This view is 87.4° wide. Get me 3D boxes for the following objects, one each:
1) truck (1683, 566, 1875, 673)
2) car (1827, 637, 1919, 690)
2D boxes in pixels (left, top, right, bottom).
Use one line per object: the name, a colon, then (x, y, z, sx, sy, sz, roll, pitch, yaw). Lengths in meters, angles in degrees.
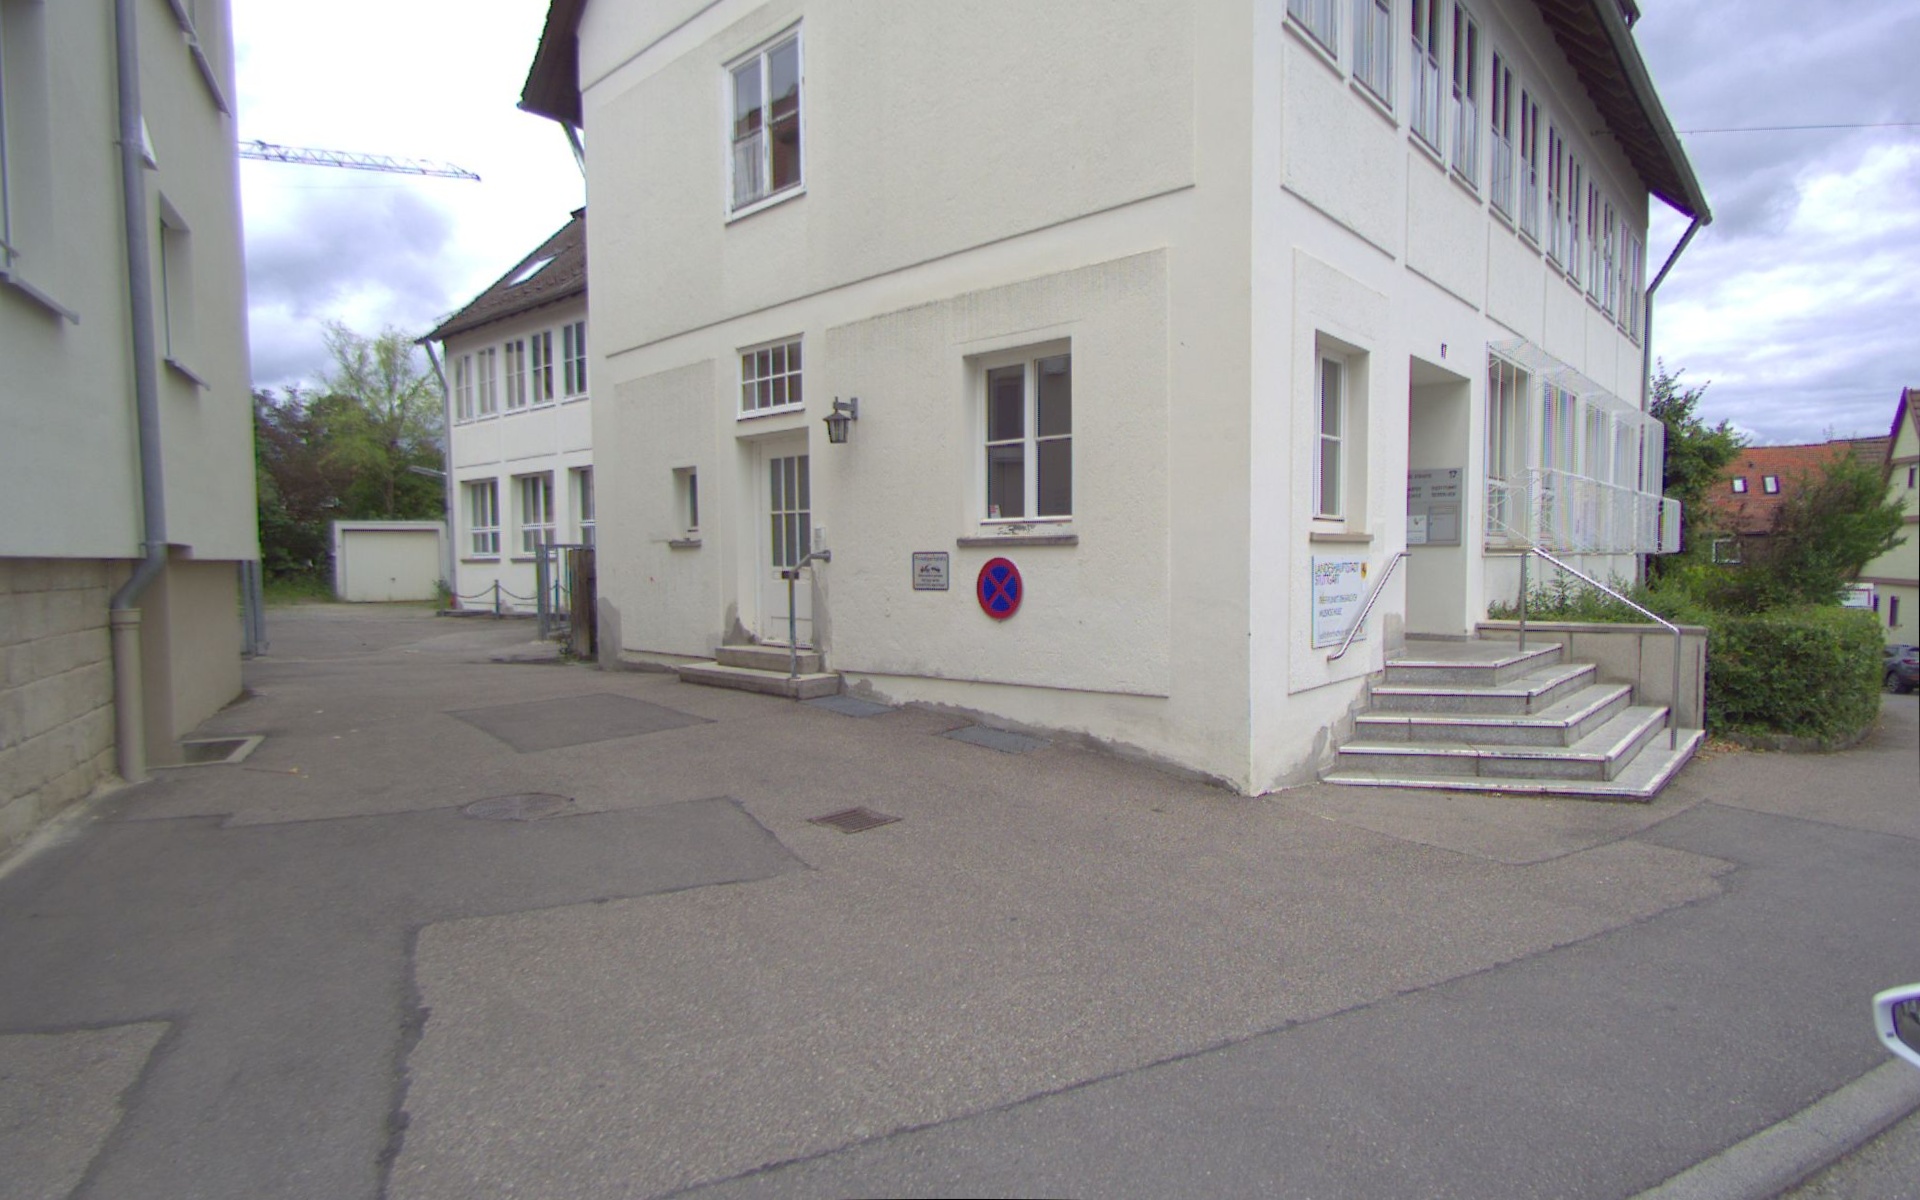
truck: (31.127, 0.798, 38.664, 2.630, 3.644, 8.110, 1, -2, 15)
car: (29.164, 1.975, 31.317, 1.704, 1.526, 4.053, 2, -2, 17)
